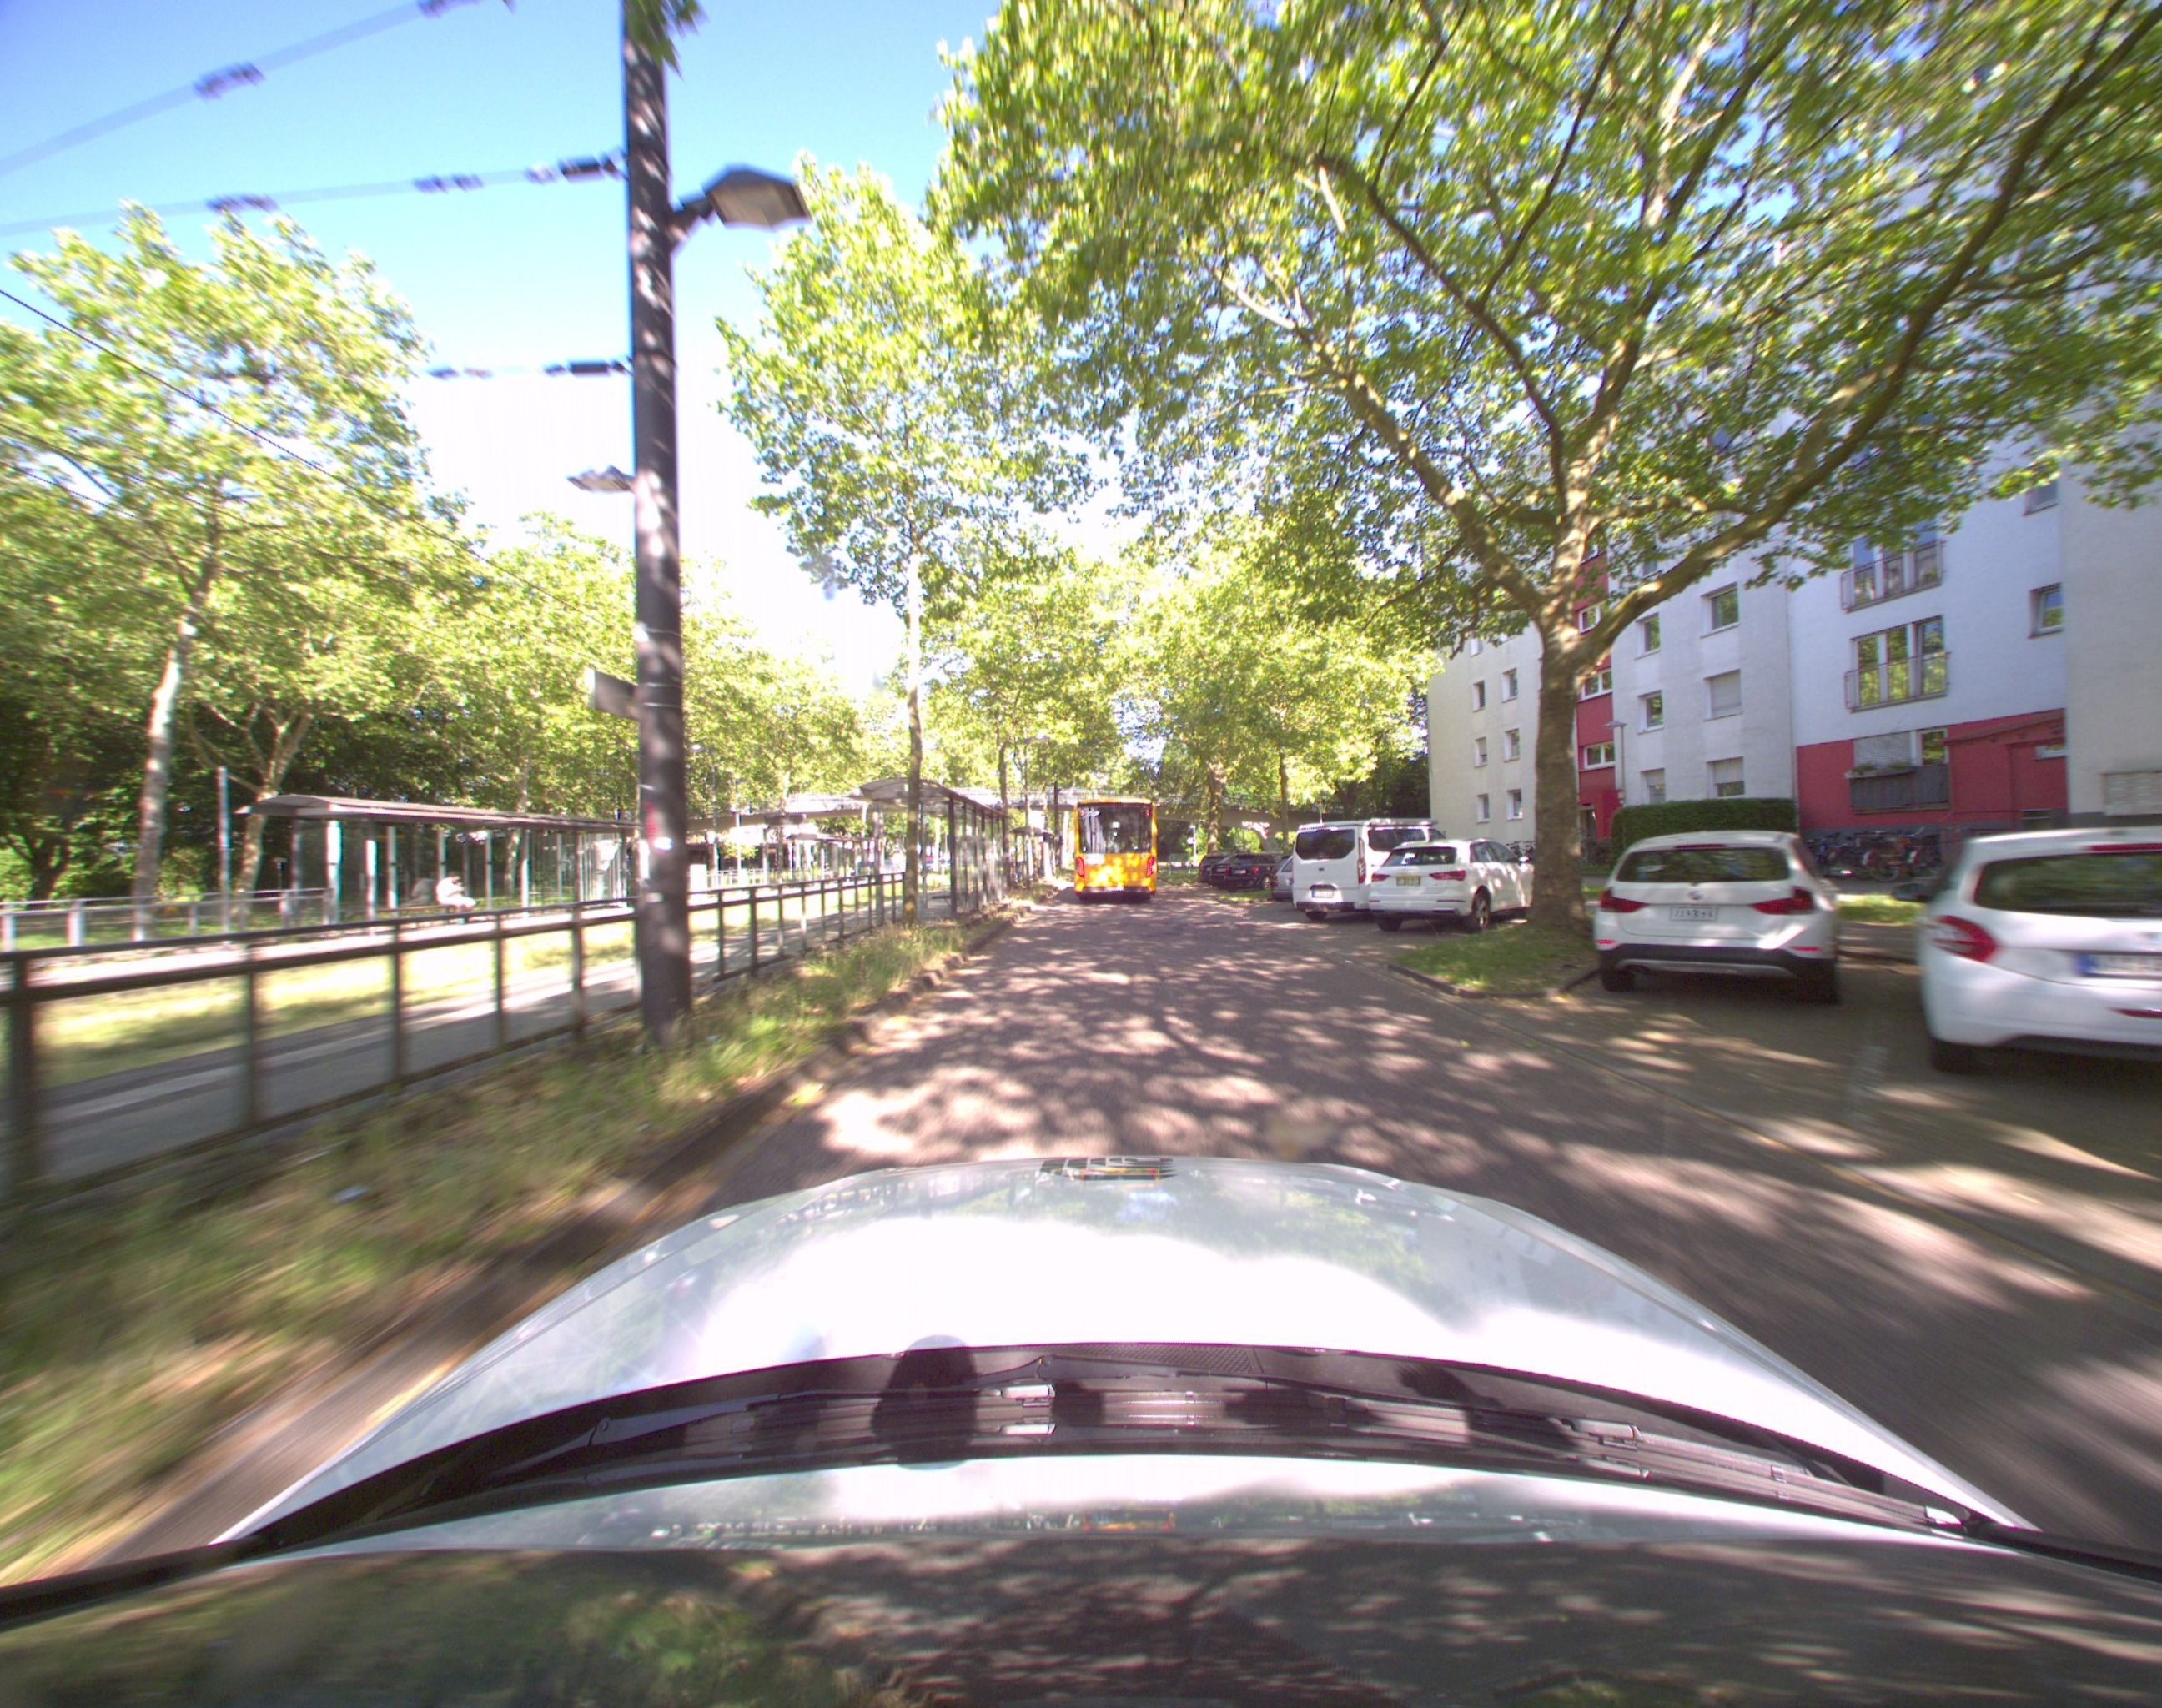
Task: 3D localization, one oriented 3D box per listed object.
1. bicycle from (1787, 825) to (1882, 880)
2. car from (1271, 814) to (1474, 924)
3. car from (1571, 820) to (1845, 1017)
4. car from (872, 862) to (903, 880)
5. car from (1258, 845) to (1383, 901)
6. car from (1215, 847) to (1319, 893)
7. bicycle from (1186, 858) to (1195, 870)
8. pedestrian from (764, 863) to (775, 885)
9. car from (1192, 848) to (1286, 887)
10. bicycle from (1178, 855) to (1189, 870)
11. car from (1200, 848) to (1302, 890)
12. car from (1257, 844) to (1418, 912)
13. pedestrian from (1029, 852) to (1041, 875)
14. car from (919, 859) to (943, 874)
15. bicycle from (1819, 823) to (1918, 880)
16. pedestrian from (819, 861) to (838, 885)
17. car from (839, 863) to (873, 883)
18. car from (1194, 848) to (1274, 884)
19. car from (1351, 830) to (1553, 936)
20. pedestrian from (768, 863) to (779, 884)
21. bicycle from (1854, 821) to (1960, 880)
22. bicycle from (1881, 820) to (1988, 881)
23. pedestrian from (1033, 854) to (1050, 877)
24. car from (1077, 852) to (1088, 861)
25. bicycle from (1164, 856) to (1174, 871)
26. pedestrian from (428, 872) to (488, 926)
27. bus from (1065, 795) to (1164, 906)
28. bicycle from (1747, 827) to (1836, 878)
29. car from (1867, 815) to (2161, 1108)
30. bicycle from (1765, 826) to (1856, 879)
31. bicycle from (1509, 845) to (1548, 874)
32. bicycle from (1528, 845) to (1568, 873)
[{"bbox_3d":[17.748,-0.033,19.196,1.791,1.129,0.499,-5,0,-4],"label":"bicycle"},{"bbox_3d":[6.489,0.260,17.888,4.614,2.052,1.994,-3,0,-39],"label":"car"},{"bbox_3d":[6.751,0.486,8.569,1.777,1.510,4.238,-4,0,44],"label":"car"},{"bbox_3d":[-17.931,1.532,75.325,1.805,1.566,4.248,-1,0,-28],"label":"car"},{"bbox_3d":[7.328,0.564,24.772,3.945,1.416,1.778,-3,0,-42],"label":"car"},{"bbox_3d":[7.082,0.577,30.868,4.022,1.468,1.761,-3,0,-42],"label":"car"},{"bbox_3d":[8.868,0.790,65.885,0.503,0.852,1.473,-5,0,0],"label":"bicycle"},{"bbox_3d":[-24.250,1.527,63.417,0.646,1.661,0.649,-1,0,-3],"label":"pedestrian"},{"bbox_3d":[7.208,0.610,37.004,4.278,1.461,1.779,-3,0,-39],"label":"car"},{"bbox_3d":[8.294,0.678,65.941,0.588,1.182,1.800,-5,0,1],"label":"bicycle"},{"bbox_3d":[7.115,0.602,33.929,4.278,1.461,1.779,-3,0,-39],"label":"car"},{"bbox_3d":[6.801,0.581,21.368,4.615,1.423,1.779,-3,0,-40],"label":"car"},{"bbox_3d":[-2.968,0.612,52.239,0.722,1.417,0.682,0,0,1],"label":"pedestrian"},{"bbox_3d":[-17.391,1.410,94.583,1.787,1.580,4.289,-1,0,2],"label":"car"},{"bbox_3d":[17.910,-0.054,18.533,1.791,1.129,0.499,-5,0,-4],"label":"bicycle"},{"bbox_3d":[-13.587,1.011,43.880,0.775,1.238,0.722,-1,0,0],"label":"pedestrian"},{"bbox_3d":[-19.136,1.557,69.316,1.790,1.566,4.284,-1,0,-2],"label":"car"},{"bbox_3d":[7.629,0.580,40.418,4.023,1.461,1.778,-3,0,-43],"label":"car"},{"bbox_3d":[6.897,0.460,14.944,4.080,1.580,1.810,-3,0,-42],"label":"car"},{"bbox_3d":[-24.268,1.516,64.287,0.646,1.661,0.649,-1,0,-3],"label":"pedestrian"},{"bbox_3d":[18.054,-0.068,17.806,1.791,1.129,0.549,-5,0,-4],"label":"bicycle"},{"bbox_3d":[18.087,-0.073,17.269,1.791,1.129,0.499,-5,0,-4],"label":"bicycle"},{"bbox_3d":[-2.193,0.643,44.979,0.851,1.243,0.851,0,0,3],"label":"pedestrian"},{"bbox_3d":[0.333,0.524,155.138,1.978,1.643,4.136,1,1,2],"label":"car"},{"bbox_3d":[7.130,0.761,65.998,0.588,1.182,1.800,-5,0,1],"label":"bicycle"},{"bbox_3d":[-14.282,1.017,18.686,0.763,1.183,0.763,-1,0,2],"label":"pedestrian"},{"bbox_3d":[1.062,-0.076,30.644,2.890,3.267,12.217,-1,0,0],"label":"bus"},{"bbox_3d":[17.690,-0.040,20.291,1.791,1.129,0.499,-5,0,-4],"label":"bicycle"},{"bbox_3d":[6.860,0.513,5.669,4.024,1.419,1.809,-3,0,-44],"label":"car"},{"bbox_3d":[17.694,-0.038,19.764,1.791,1.129,0.499,-5,0,-4],"label":"bicycle"},{"bbox_3d":[18.156,0.214,33.090,0.588,1.107,1.800,-1,0,1],"label":"bicycle"},{"bbox_3d":[18.966,0.203,33.127,0.588,1.107,1.800,-1,0,1],"label":"bicycle"}]
